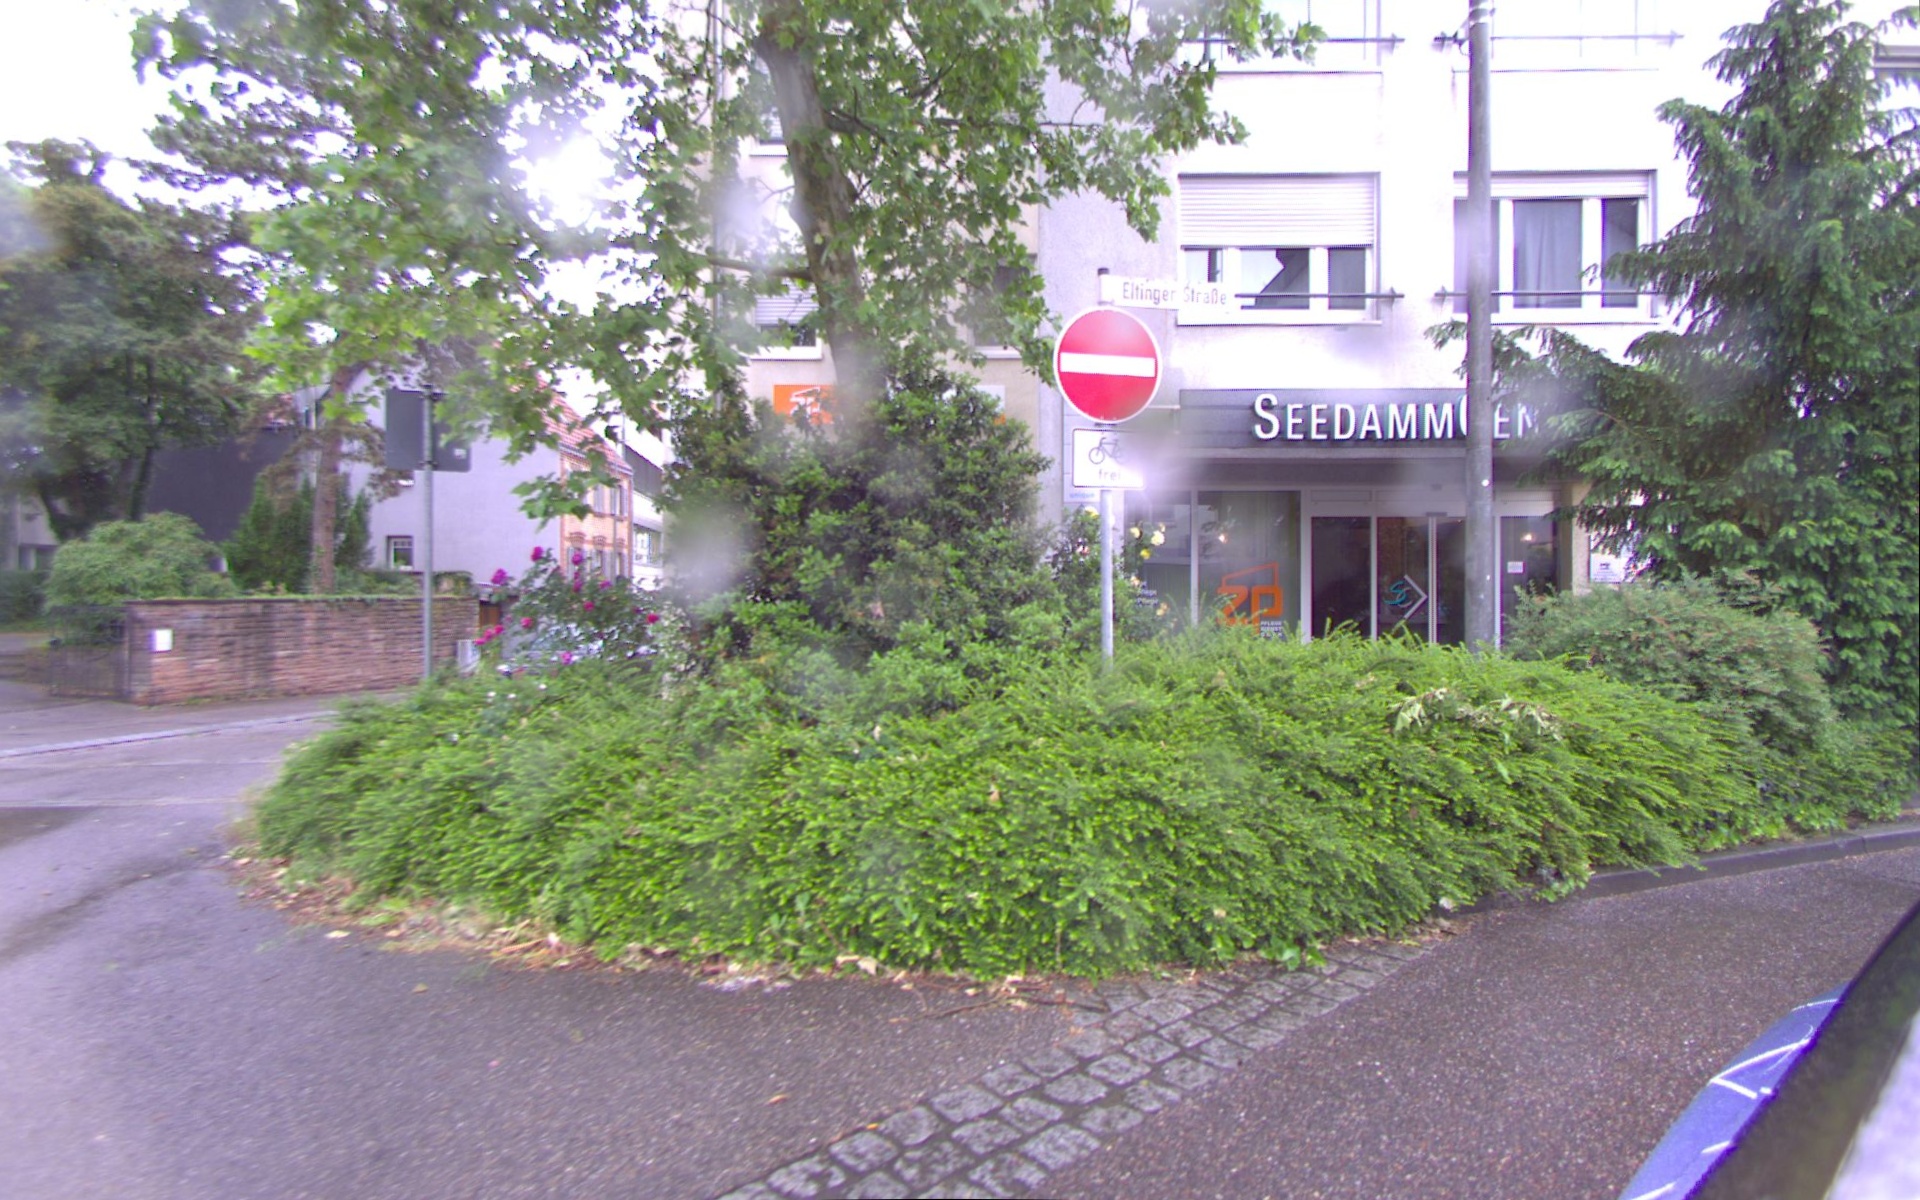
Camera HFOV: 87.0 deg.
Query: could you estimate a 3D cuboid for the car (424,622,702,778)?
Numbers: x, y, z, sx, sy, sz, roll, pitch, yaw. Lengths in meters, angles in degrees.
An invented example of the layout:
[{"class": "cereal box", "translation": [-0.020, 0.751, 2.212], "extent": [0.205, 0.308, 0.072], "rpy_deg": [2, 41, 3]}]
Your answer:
[{"class": "car", "translation": [-6.395, 1.561, 16.856], "extent": [1.982, 1.664, 3.977], "rpy_deg": [20, 3, 16]}]
